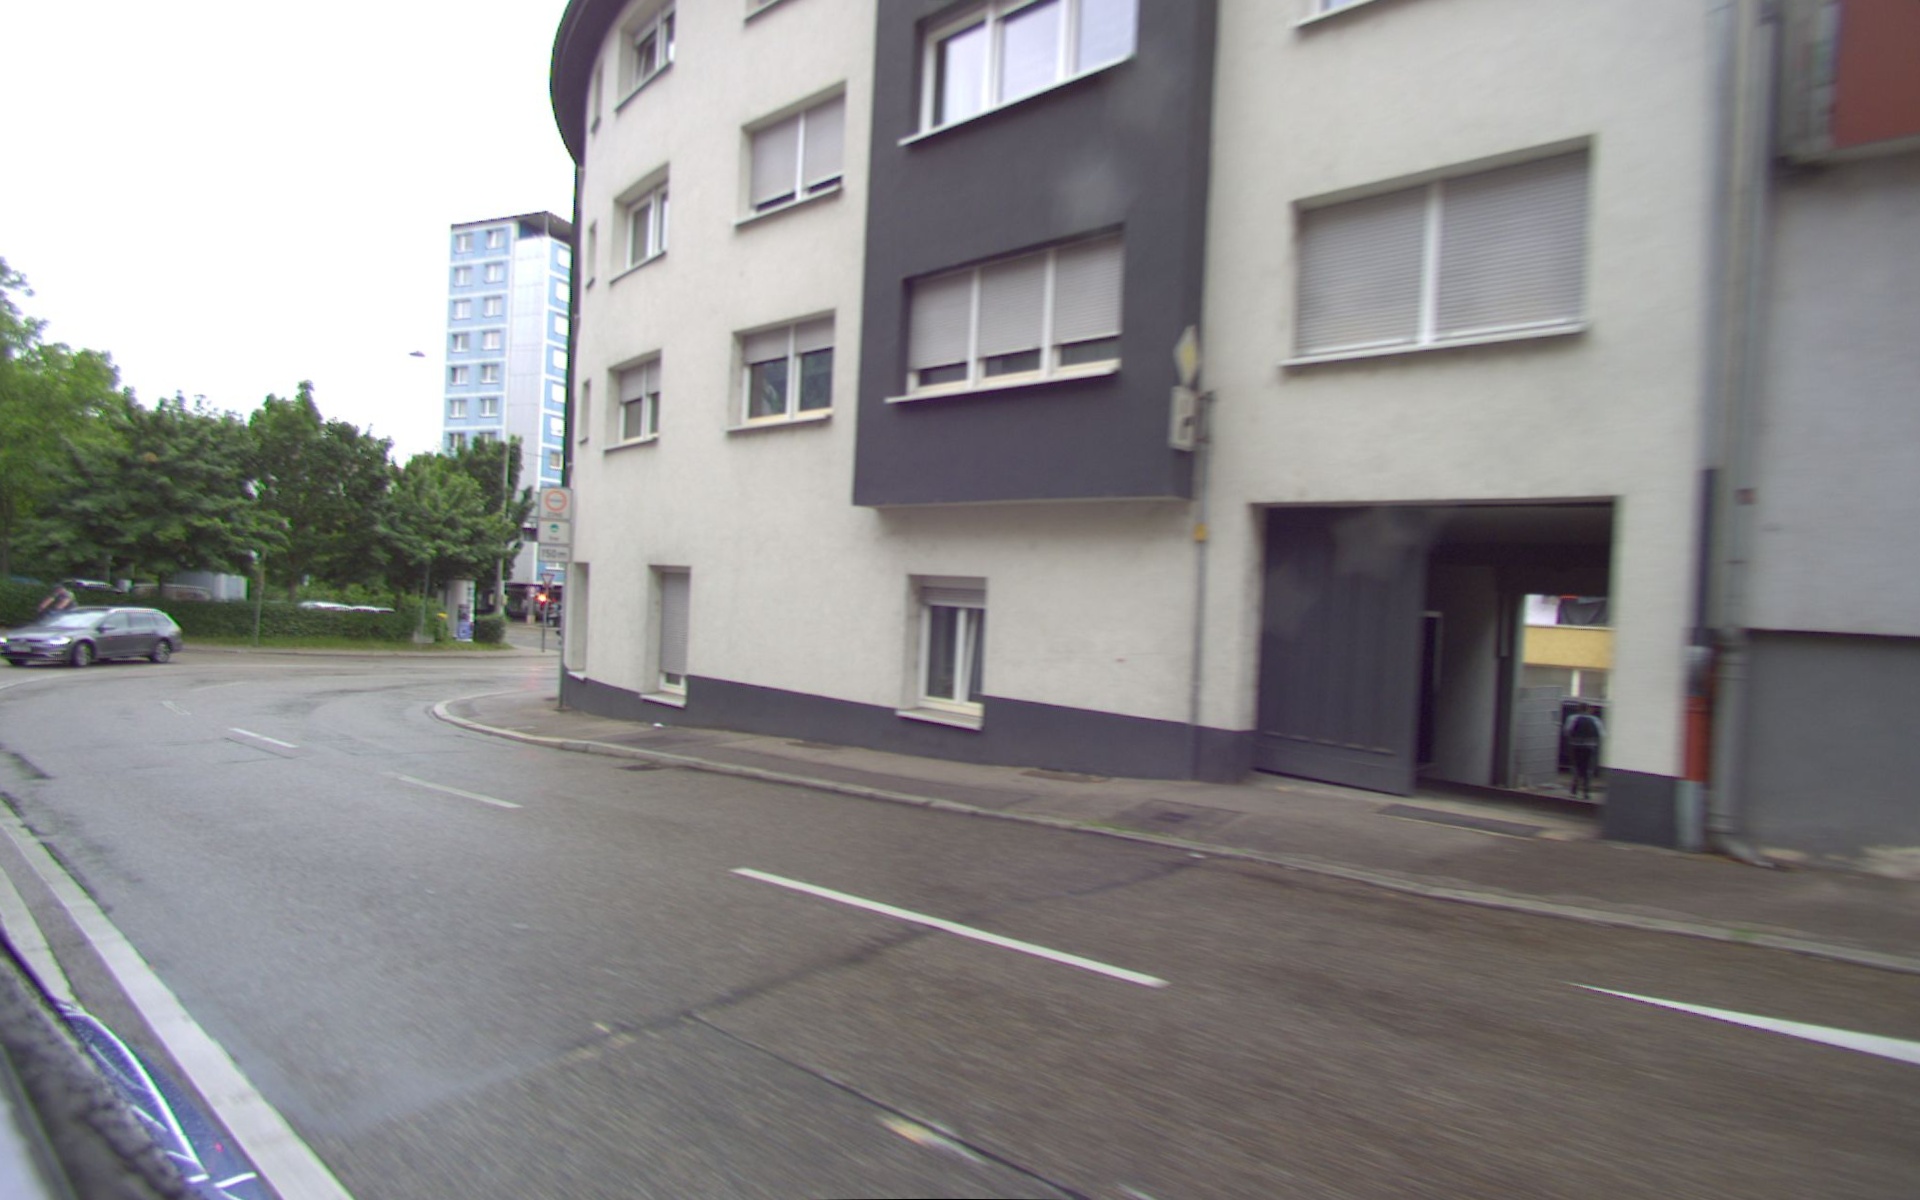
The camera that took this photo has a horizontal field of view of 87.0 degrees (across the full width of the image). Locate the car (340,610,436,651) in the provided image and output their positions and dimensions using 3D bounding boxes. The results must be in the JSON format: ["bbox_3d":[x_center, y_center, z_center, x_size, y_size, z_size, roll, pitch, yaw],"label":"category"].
[{"bbox_3d":[-27.898,1.487,49.347,4.181,1.633,1.626,3,-5,20],"label":"car"}]

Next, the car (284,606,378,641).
[{"bbox_3d":[-34.186,1.319,55.155,1.788,1.521,3.971,3,-5,21],"label":"car"}]

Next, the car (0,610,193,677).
[{"bbox_3d":[-22.643,1.104,26.331,1.666,1.516,4.496,3,-2,4],"label":"car"}]

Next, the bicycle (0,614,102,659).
[{"bbox_3d":[-27.237,1.113,30.357,0.880,1.196,2.125,4,-3,12],"label":"bicycle"}]

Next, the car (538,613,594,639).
[{"bbox_3d":[-31.582,2.072,81.102,4.162,1.678,1.637,5,1,24],"label":"car"}]

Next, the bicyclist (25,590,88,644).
[{"bbox_3d":[-27.180,0.519,30.441,0.880,1.501,0.964,4,-3,13],"label":"bicyclist"}]

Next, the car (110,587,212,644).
[{"bbox_3d":[-31.996,0.617,40.486,4.196,1.975,1.620,2,-5,31],"label":"car"}]

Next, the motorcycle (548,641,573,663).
[{"bbox_3d":[-23.415,3.038,59.294,1.799,1.115,0.610,3,5,40],"label":"motorcycle"}]

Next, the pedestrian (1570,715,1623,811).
[{"bbox_3d":[9.862,2.518,15.672,0.649,1.395,0.642,-1,-10,37],"label":"pedestrian"}]

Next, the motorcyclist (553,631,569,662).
[{"bbox_3d":[-23.334,2.716,59.208,0.650,1.673,0.610,3,4,40],"label":"motorcyclist"}]
